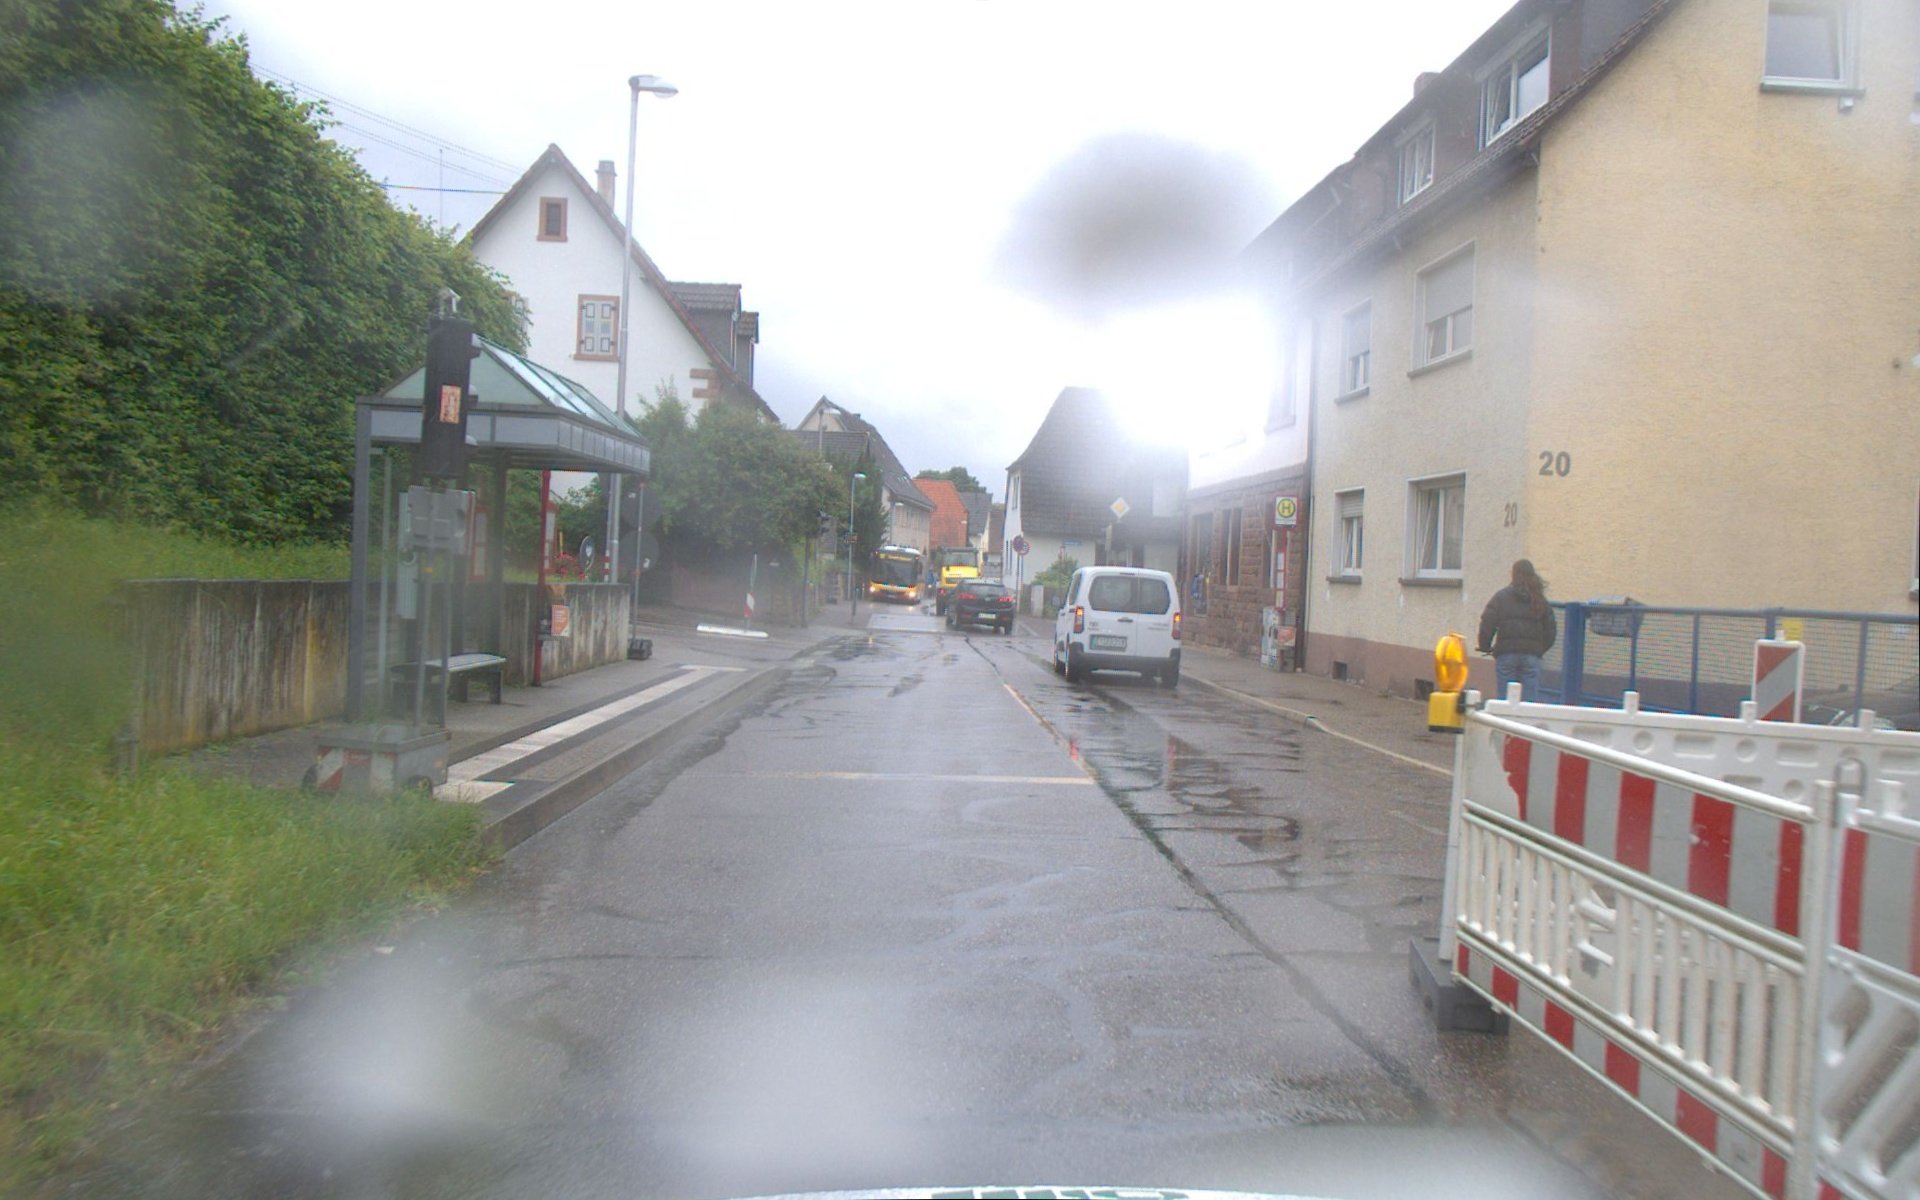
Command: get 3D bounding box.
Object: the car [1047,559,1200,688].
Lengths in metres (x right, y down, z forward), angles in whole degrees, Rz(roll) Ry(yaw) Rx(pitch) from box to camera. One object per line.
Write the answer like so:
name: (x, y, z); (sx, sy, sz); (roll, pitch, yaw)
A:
car: (2.578, 0.320, 26.953); (1.857, 1.824, 3.812); (4, 1, -3)

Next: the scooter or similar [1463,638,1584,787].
scooter or similar: (4.802, 0.932, 14.170); (0.607, 1.146, 1.403); (3, 0, 5)

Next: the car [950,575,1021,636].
car: (0.720, 0.132, 49.482); (1.774, 1.624, 3.754); (4, 1, -3)

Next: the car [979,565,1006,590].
car: (2.716, -1.863, 138.198); (1.951, 2.049, 4.003); (1, 0, 6)

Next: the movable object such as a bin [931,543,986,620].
movable object such as a bin: (-0.076, -0.697, 62.259); (1.693, 2.699, 3.972); (4, 1, -3)

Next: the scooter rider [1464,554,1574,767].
scooter rider: (4.808, 0.513, 14.242); (0.715, 1.763, 0.518); (3, 0, 4)

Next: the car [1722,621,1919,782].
car: (9.789, 1.088, 15.806); (4.062, 1.324, 1.911); (6, 0, -2)

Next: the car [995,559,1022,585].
car: (3.577, -2.037, 121.285); (1.812, 1.825, 4.002); (1, 0, 4)

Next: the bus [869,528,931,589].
bus: (-3.256, -2.396, 93.220); (2.595, 3.051, 12.197); (3, 2, 1)
